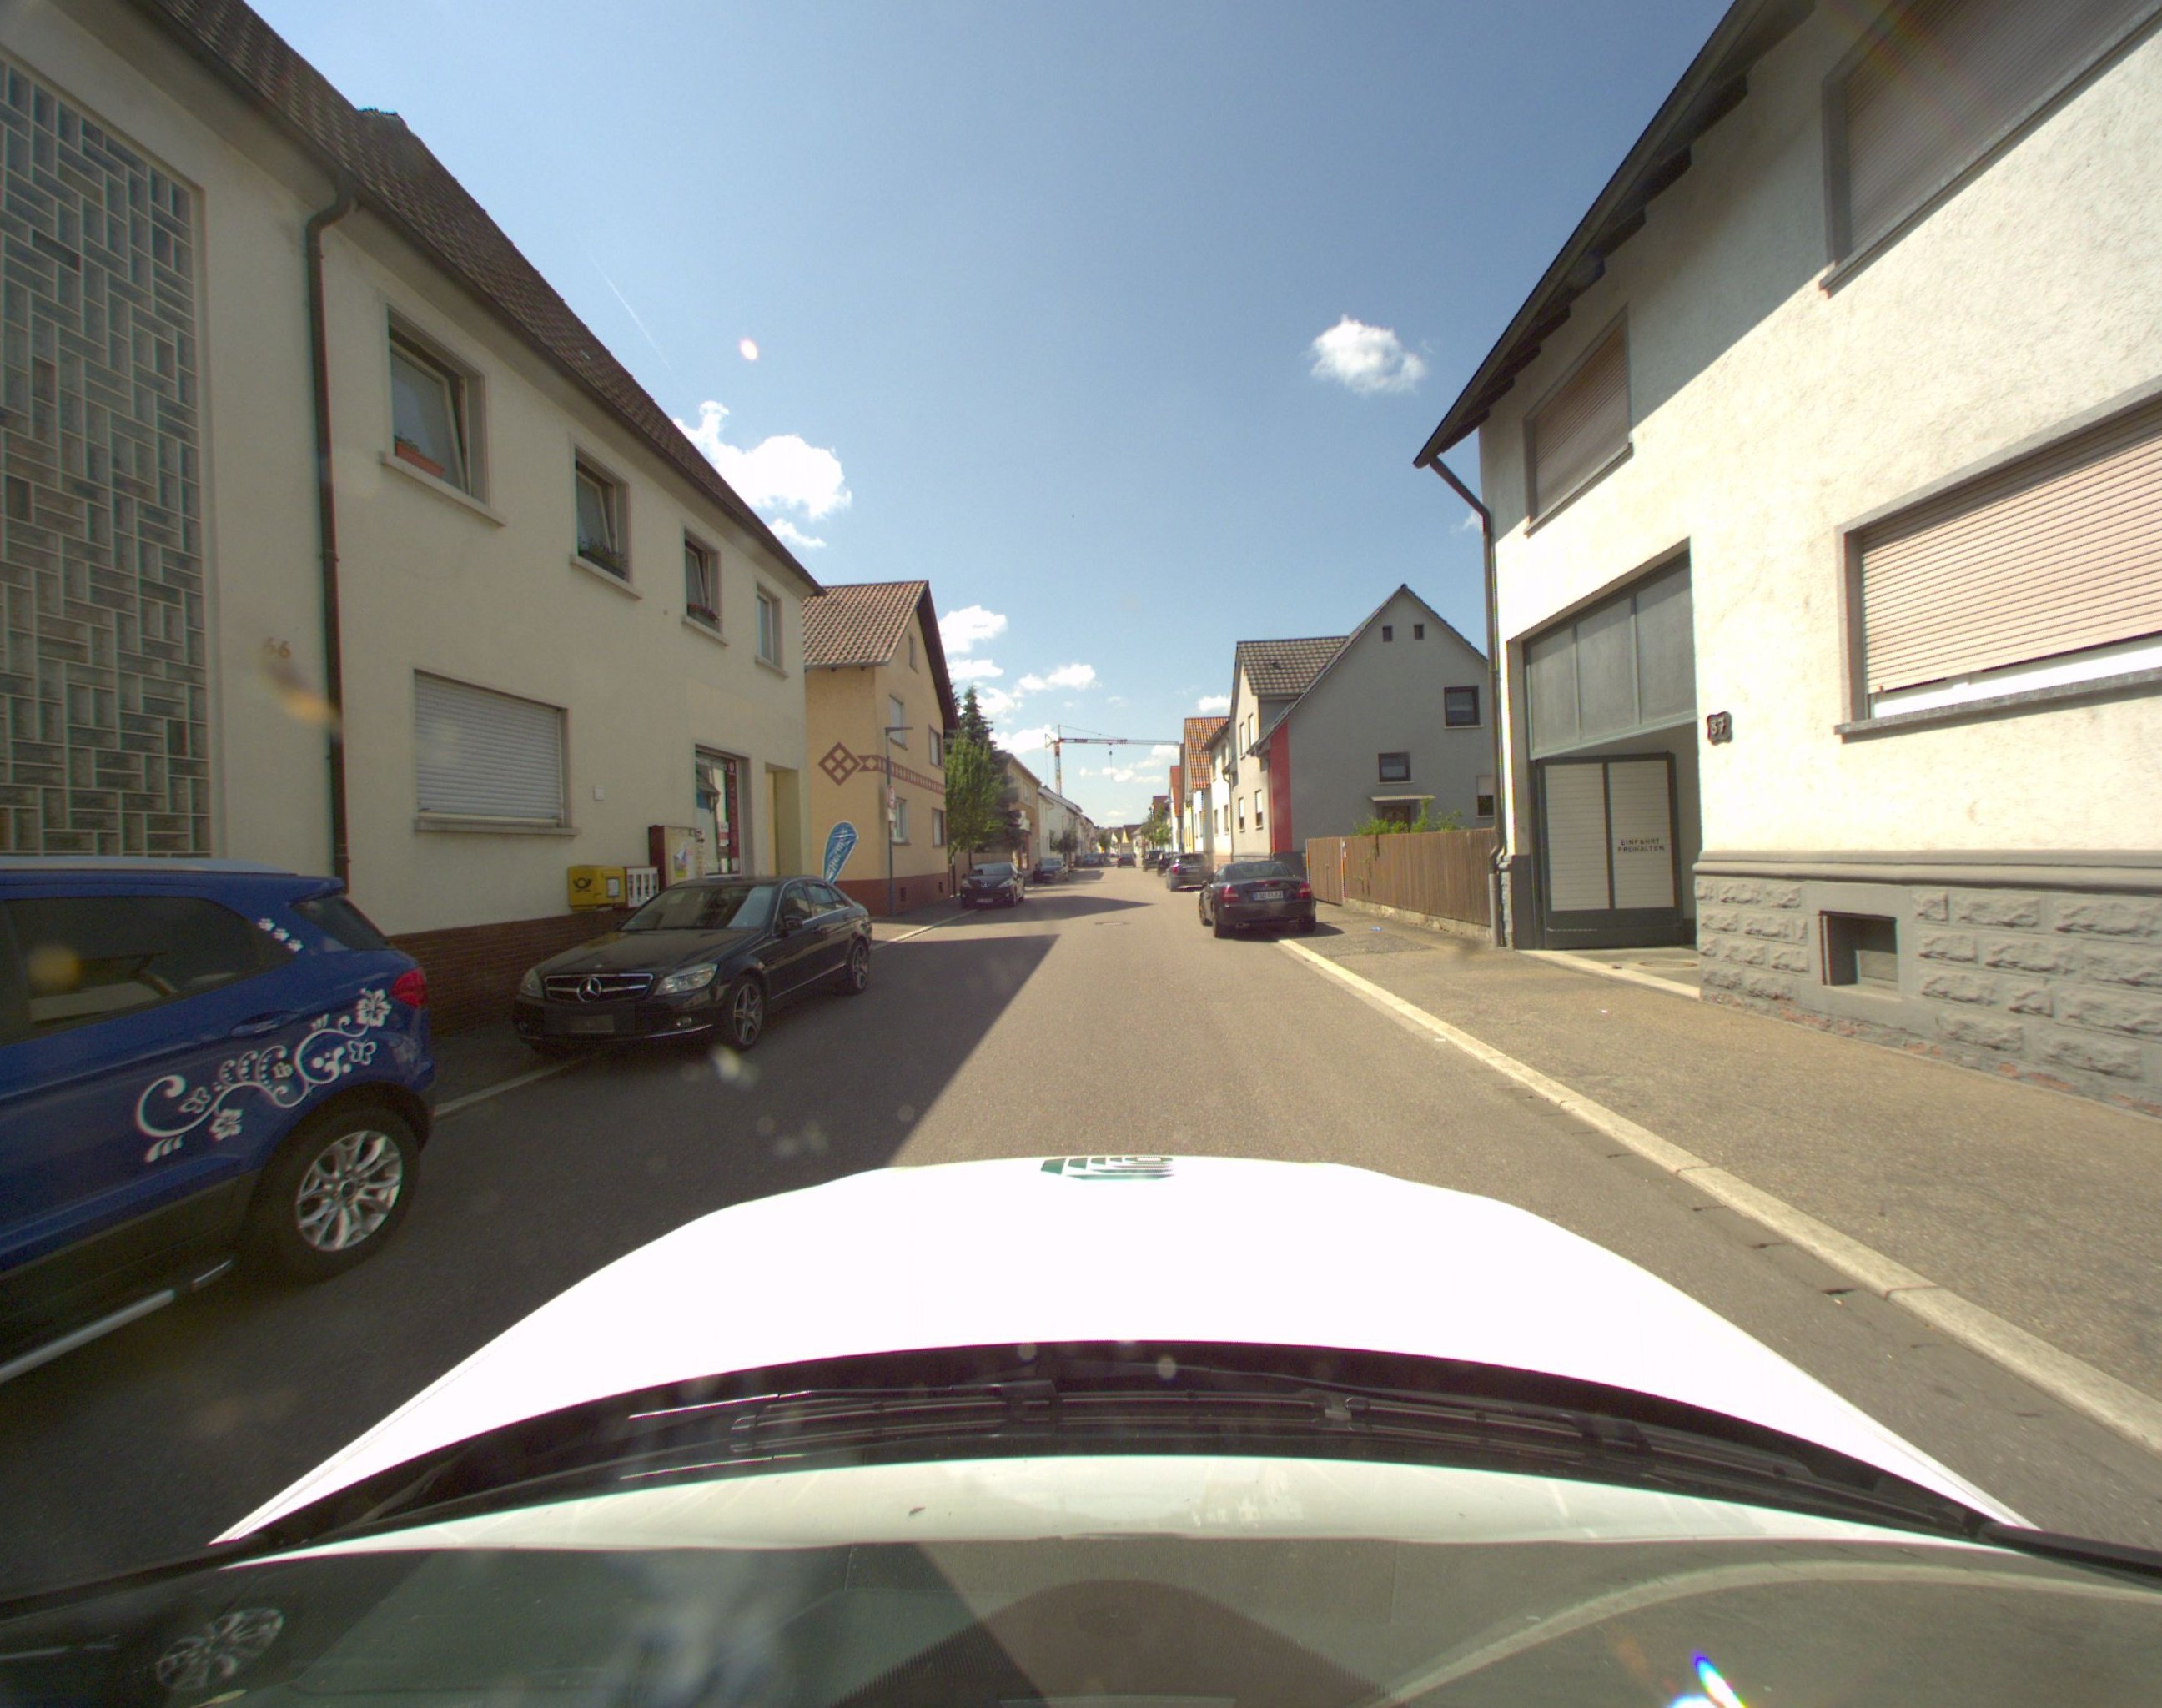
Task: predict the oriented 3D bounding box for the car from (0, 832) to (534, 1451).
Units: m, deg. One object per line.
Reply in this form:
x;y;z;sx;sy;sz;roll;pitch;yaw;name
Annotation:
-3.758;0.814;2.091;1.711;1.639;4.150;-4;0;2;car

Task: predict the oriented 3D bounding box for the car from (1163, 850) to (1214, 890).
4.199;0.609;32.241;1.681;1.422;3.660;-2;0;3;car

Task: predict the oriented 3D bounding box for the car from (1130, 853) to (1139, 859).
13.304;0.534;202.337;1.776;1.564;4.337;-3;0;1;car

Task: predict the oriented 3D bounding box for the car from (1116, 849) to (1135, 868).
4.536;0.444;83.255;1.776;1.753;4.002;-3;-1;2;car

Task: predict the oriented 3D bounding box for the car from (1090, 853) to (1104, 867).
2.093;0.722;103.355;1.647;1.609;4.063;-2;0;2;car

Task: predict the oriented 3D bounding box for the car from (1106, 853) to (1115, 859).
9.425;0.594;259.097;1.823;1.753;4.210;-3;-1;-13;car

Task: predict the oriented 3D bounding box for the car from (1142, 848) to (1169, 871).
5.855;0.428;64.550;1.722;1.717;4.276;-2;0;1;car

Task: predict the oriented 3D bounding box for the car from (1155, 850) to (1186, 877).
5.650;0.564;51.742;1.610;1.495;3.974;-5;0;3;car

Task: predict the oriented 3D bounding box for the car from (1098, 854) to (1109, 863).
3.977;0.794;142.779;1.715;1.555;4.176;-1;0;4;car

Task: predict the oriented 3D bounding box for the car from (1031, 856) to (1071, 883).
-1.690;0.866;47.425;1.760;1.460;4.442;-2;0;5;car

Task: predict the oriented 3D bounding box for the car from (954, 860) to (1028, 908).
-2.824;0.928;26.481;1.754;1.374;4.069;-1;0;3;car

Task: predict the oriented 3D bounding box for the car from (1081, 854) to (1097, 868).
0.986;0.785;96.707;1.751;1.525;4.292;-2;0;2;car

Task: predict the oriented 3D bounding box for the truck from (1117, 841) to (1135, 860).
9.697;-0.668;177.968;3.366;3.865;13.931;-3;0;2;truck

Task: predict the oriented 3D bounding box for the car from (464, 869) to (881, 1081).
-3.511;0.920;8.096;1.690;1.411;4.394;-2;0;3;car

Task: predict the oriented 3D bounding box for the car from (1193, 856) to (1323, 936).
3.226;0.704;15.625;1.808;1.276;4.151;-2;0;4;car
